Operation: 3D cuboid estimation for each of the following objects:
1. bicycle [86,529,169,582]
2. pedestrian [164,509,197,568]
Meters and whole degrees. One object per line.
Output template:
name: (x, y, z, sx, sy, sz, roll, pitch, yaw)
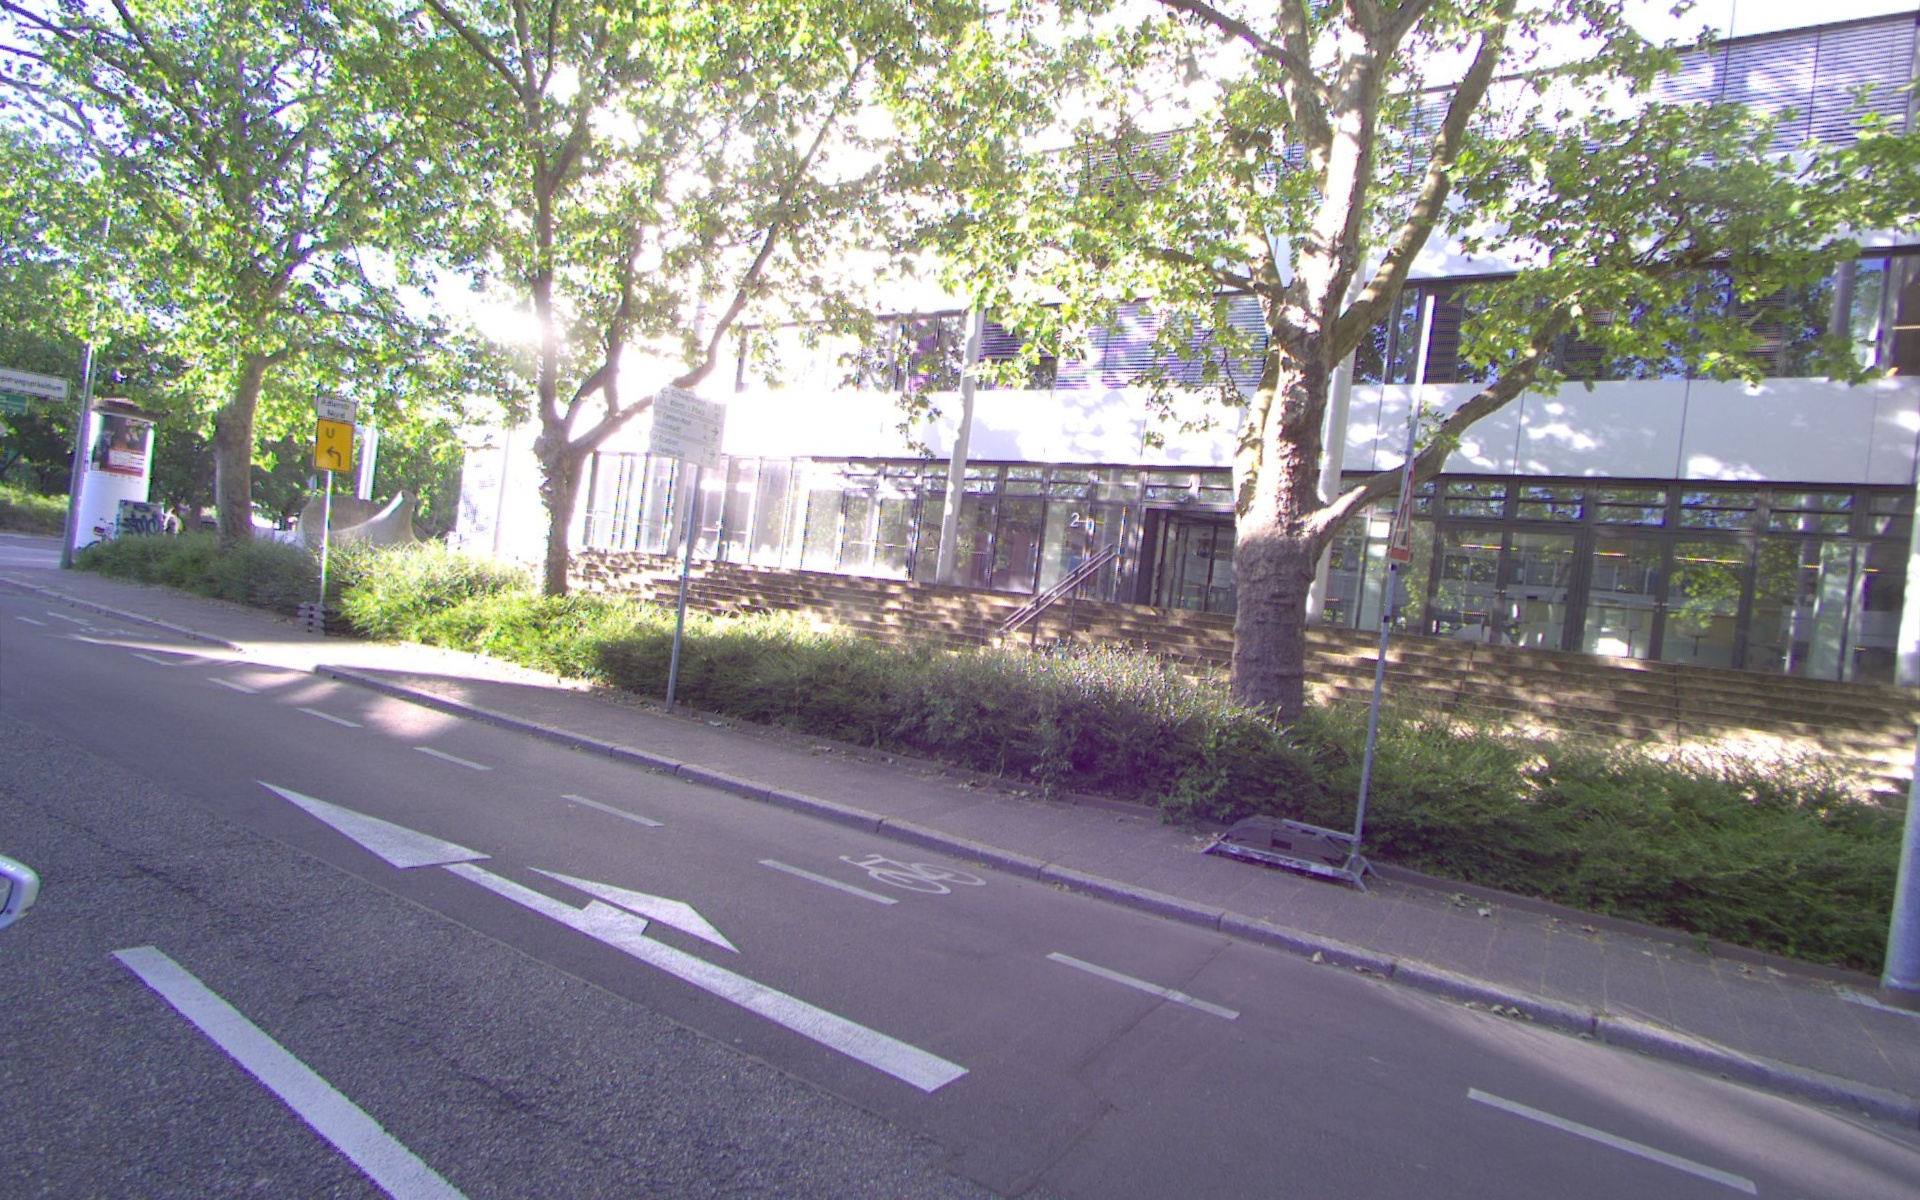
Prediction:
bicycle: (-19.218, -1.024, 23.236, 0.357, 1.036, 1.354, 7, -1, 33)
pedestrian: (-25.865, -2.030, 33.384, 0.584, 1.871, 0.552, 7, 0, 33)
